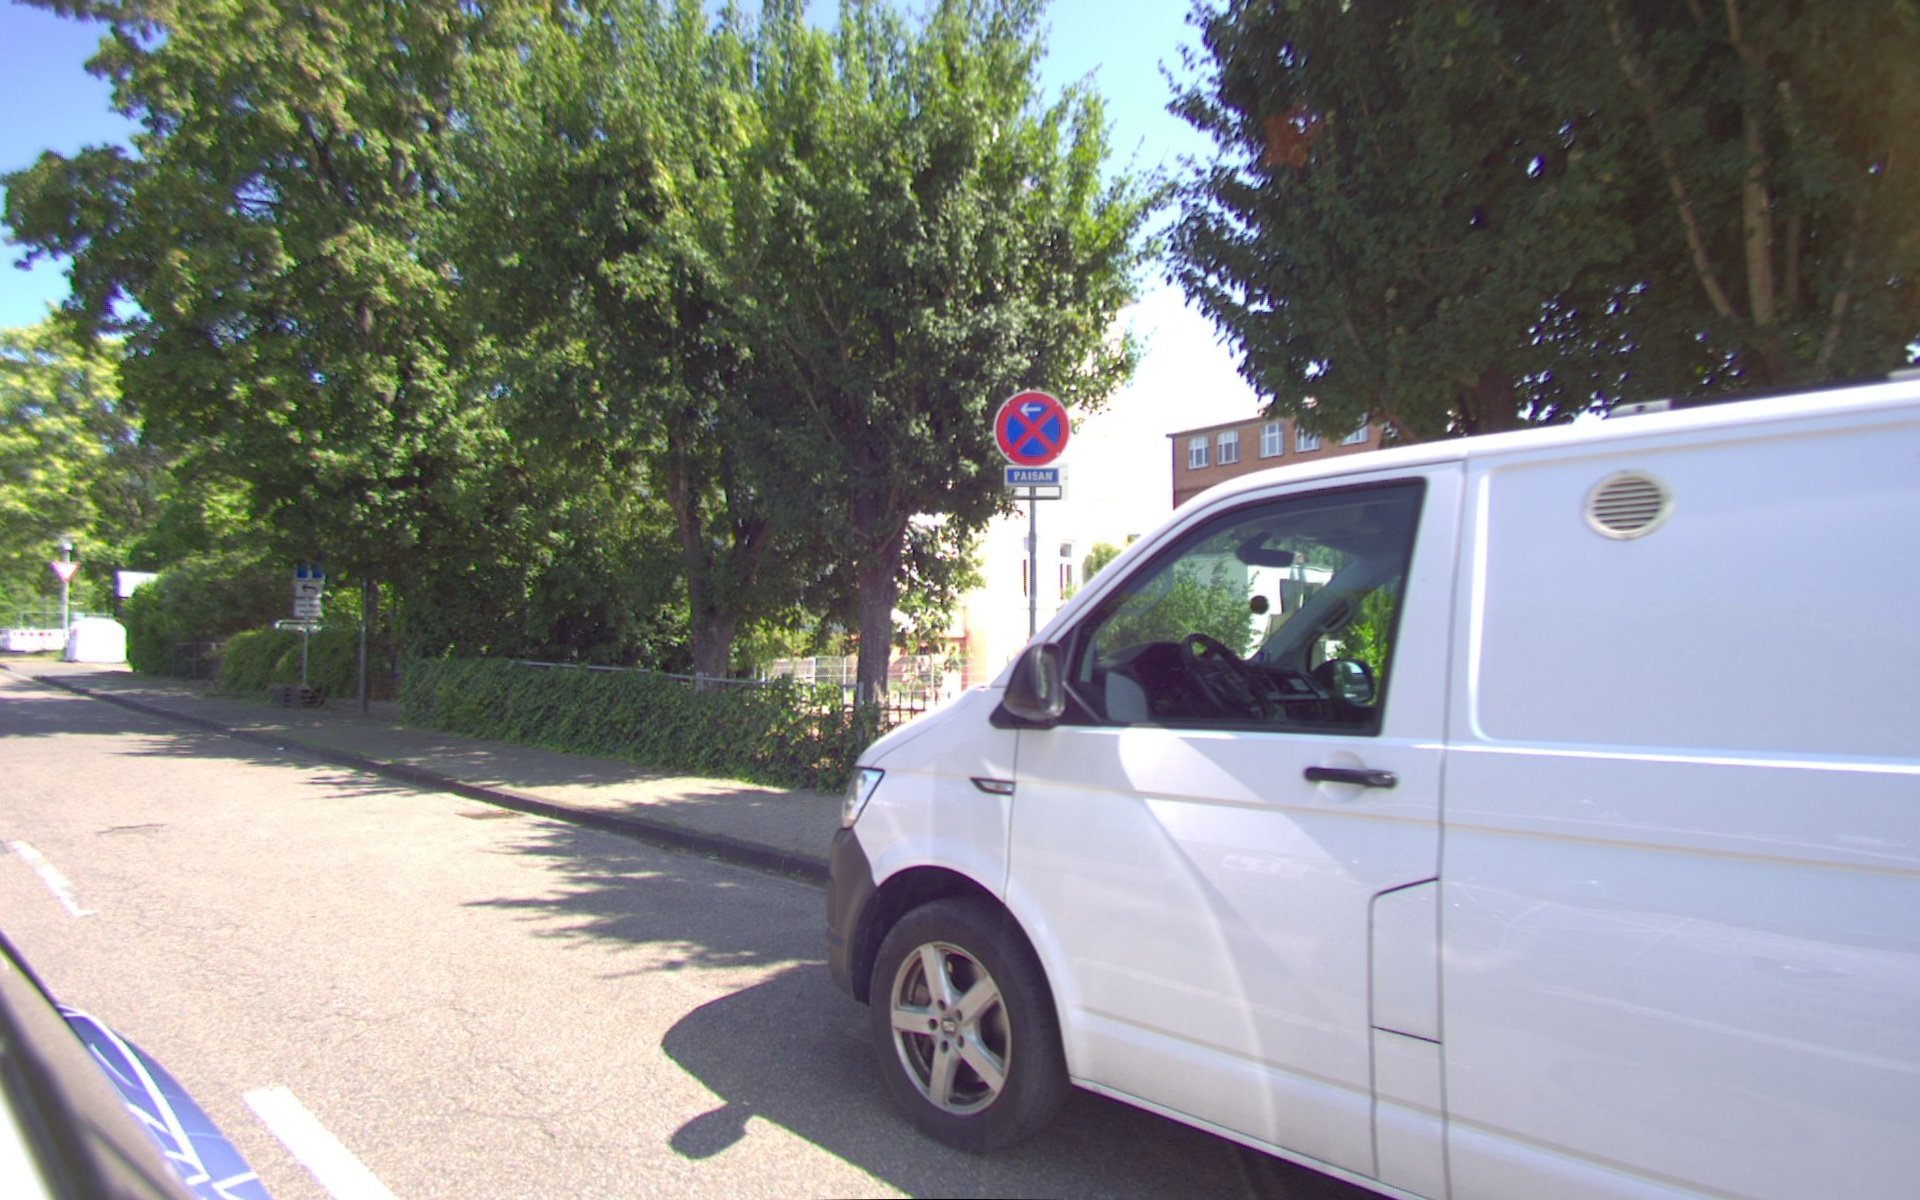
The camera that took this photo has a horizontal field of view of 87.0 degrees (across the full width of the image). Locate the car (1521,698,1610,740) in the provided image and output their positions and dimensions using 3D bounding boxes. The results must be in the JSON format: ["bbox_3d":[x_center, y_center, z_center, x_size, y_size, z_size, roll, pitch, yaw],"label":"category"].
[{"bbox_3d":[27.707,5.395,46.267,4.529,1.690,2.120,4,-4,-39],"label":"car"}]

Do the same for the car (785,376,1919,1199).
[{"bbox_3d":[1.997,0.734,2.337,5.054,2.029,1.950,-2,-5,41],"label":"car"}]

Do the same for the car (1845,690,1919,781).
[{"bbox_3d":[33.227,4.556,33.245,2.405,2.898,5.943,5,-5,-40],"label":"car"}]

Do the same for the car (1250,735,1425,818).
[{"bbox_3d":[10.211,4.706,27.530,1.969,1.697,4.004,5,-5,-42],"label":"car"}]

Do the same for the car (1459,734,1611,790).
[{"bbox_3d":[21.525,6.025,38.049,1.794,1.690,4.609,6,-6,-40],"label":"car"}]
